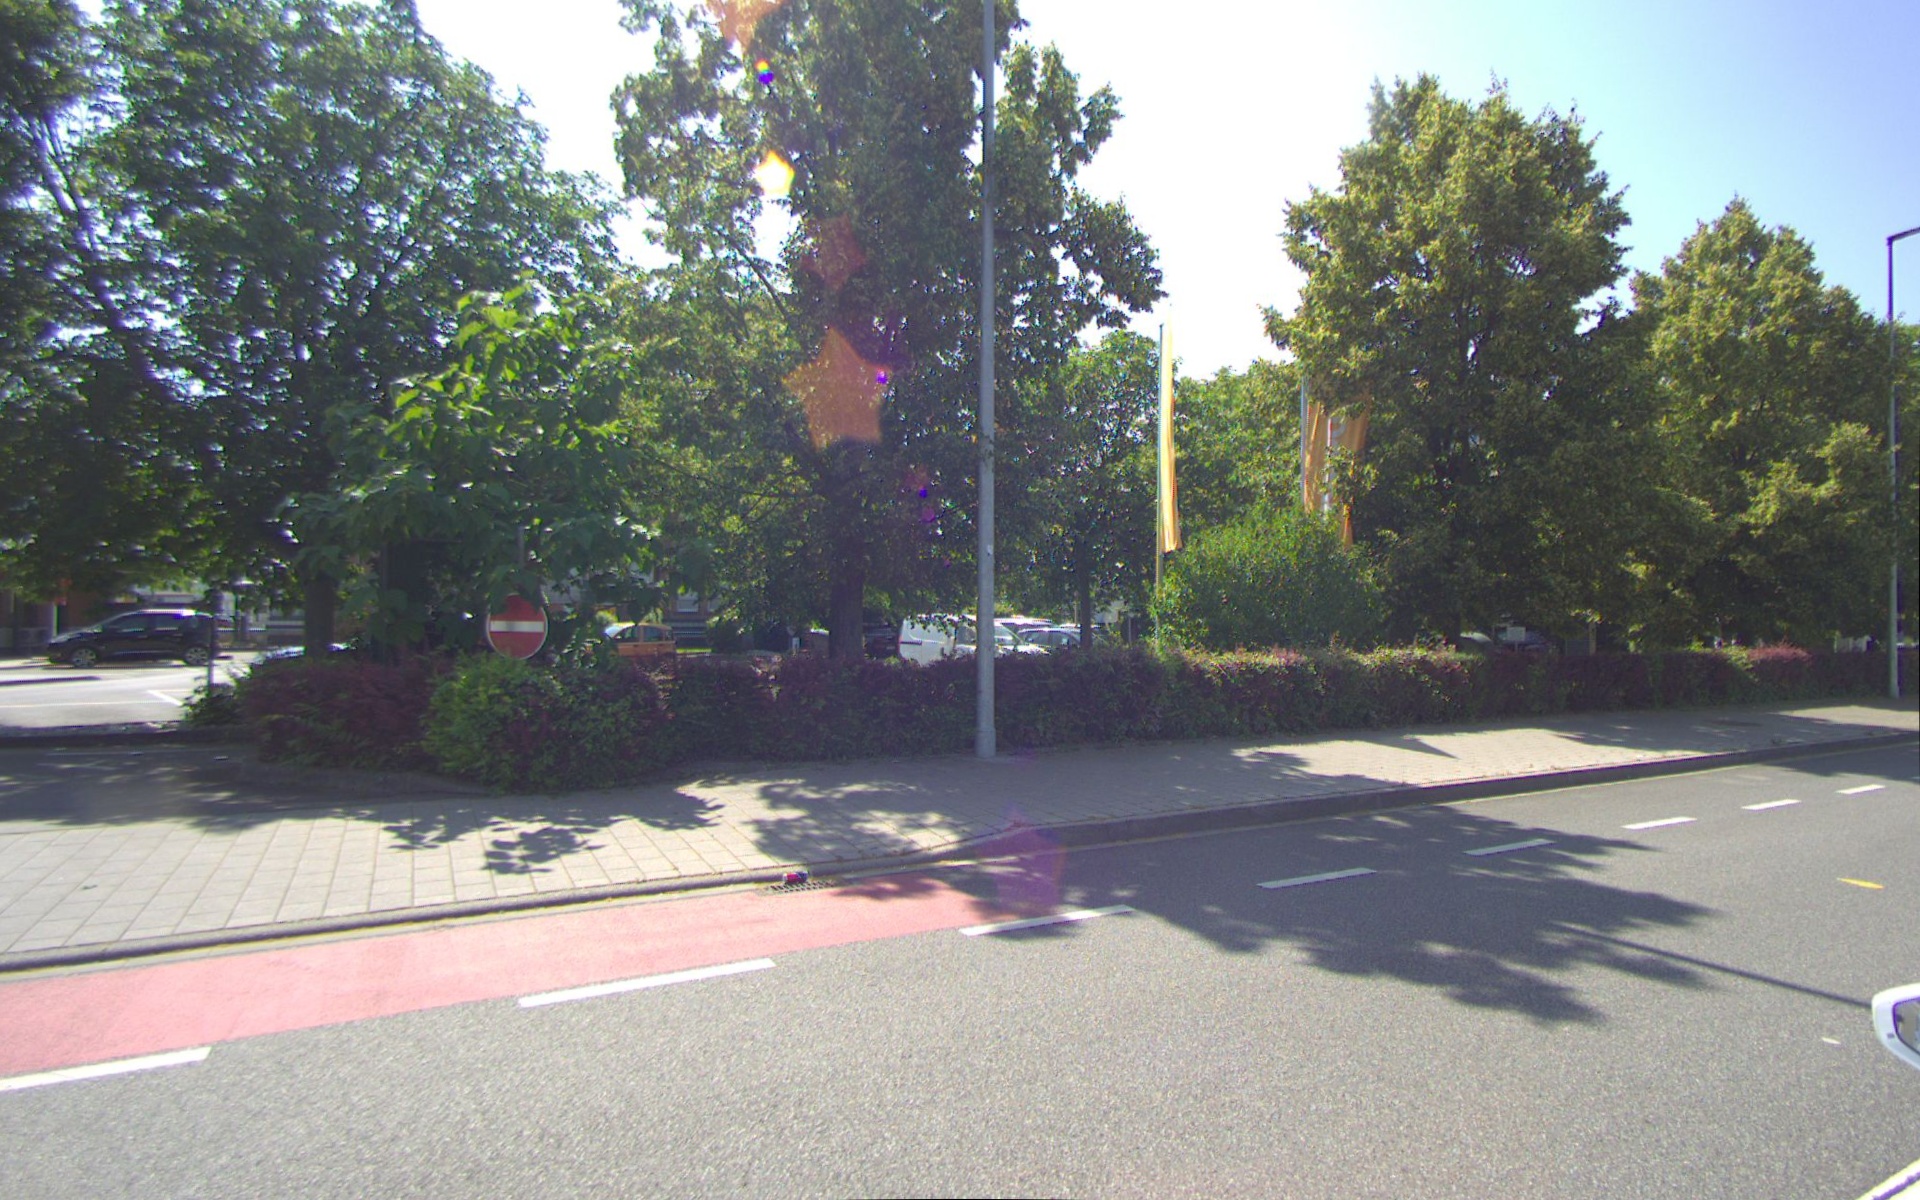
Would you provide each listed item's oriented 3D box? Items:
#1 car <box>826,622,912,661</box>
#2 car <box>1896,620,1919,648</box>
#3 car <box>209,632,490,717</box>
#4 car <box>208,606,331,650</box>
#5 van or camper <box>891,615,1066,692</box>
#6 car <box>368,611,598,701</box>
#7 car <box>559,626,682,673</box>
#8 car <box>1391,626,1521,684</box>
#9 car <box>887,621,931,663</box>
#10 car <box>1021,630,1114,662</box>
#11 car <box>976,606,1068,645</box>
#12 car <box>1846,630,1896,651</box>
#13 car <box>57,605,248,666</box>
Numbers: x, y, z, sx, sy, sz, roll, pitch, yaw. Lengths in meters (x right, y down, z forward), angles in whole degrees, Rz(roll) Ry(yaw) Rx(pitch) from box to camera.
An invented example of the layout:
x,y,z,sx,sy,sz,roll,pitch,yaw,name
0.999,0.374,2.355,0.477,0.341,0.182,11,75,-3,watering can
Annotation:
x,y,z,sx,sy,sz,roll,pitch,yaw,name
-3.986,1.750,43.513,1.784,1.619,3.953,1,-2,-40,car
67.447,2.353,69.985,1.961,1.929,3.999,0,-1,22,car
-10.724,1.242,17.926,1.581,1.303,3.989,-1,-2,33,car
-35.012,1.434,51.027,4.715,2.206,1.998,0,-1,-7,car
0.400,1.288,25.371,4.226,1.763,1.988,-1,-2,44,van or camper
-10.269,1.153,21.886,1.691,1.758,4.231,-1,-2,38,car
-10.655,1.508,31.606,3.323,1.394,1.570,2,-2,-45,car
14.738,1.596,29.824,3.711,1.624,1.674,1,-2,-29,car
-1.889,1.573,38.172,1.472,1.546,3.434,0,-1,0,car
4.815,2.058,45.247,3.938,1.356,1.579,-1,-2,38,car
2.675,1.125,44.046,1.784,1.619,3.953,1,-2,-40,car
65.344,2.879,72.104,1.542,1.439,3.686,0,-1,23,car
-24.190,1.055,30.190,4.320,1.707,1.752,2,-2,-44,car
